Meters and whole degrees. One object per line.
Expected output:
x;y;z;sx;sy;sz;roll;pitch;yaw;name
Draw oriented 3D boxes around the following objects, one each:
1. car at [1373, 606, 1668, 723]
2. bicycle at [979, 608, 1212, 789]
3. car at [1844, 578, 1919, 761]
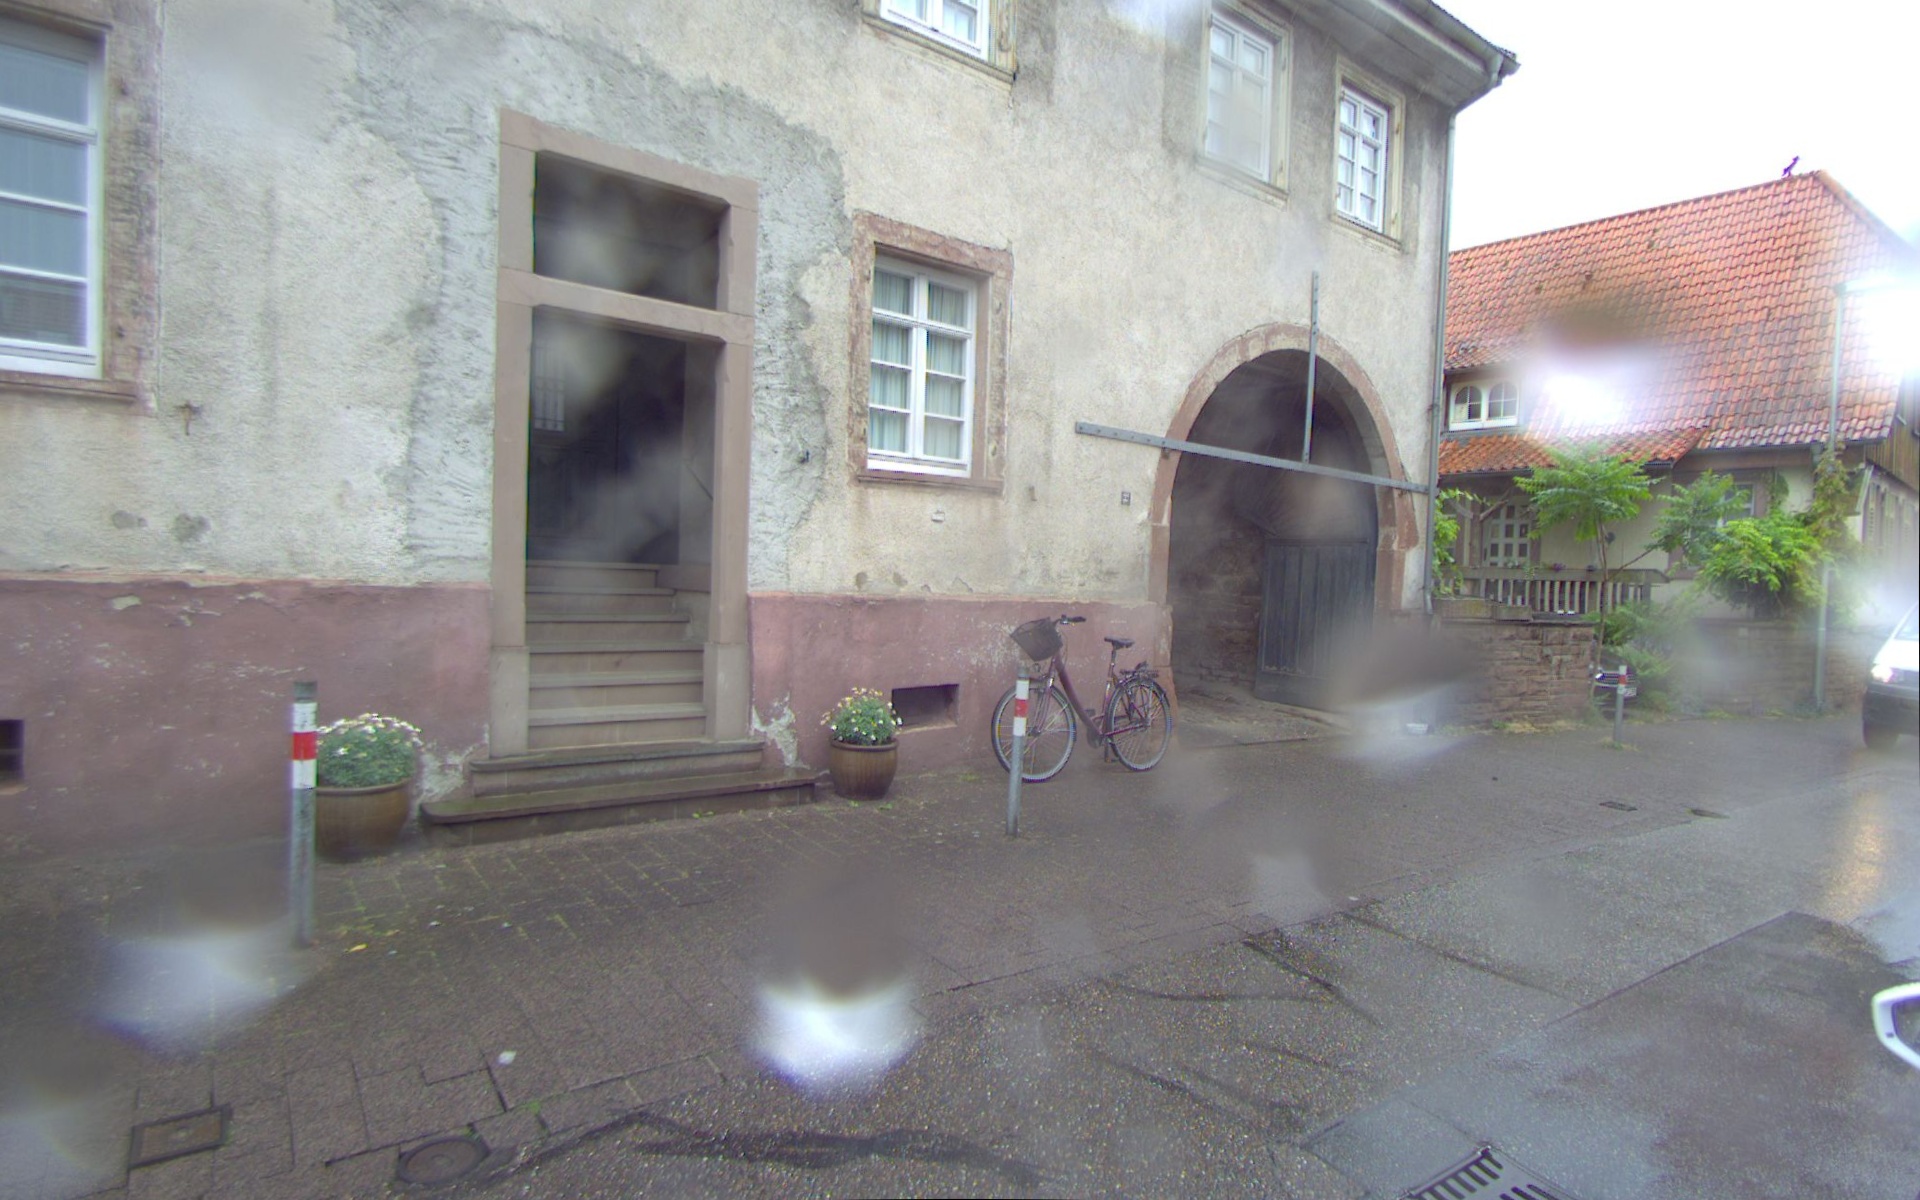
8.251;0.875;15.064;1.578;1.394;3.505;2;1;-34;car
1.044;0.702;7.482;1.817;1.196;0.480;2;2;-35;bicycle
12.679;0.881;12.123;4.676;1.993;1.880;3;2;-35;car
